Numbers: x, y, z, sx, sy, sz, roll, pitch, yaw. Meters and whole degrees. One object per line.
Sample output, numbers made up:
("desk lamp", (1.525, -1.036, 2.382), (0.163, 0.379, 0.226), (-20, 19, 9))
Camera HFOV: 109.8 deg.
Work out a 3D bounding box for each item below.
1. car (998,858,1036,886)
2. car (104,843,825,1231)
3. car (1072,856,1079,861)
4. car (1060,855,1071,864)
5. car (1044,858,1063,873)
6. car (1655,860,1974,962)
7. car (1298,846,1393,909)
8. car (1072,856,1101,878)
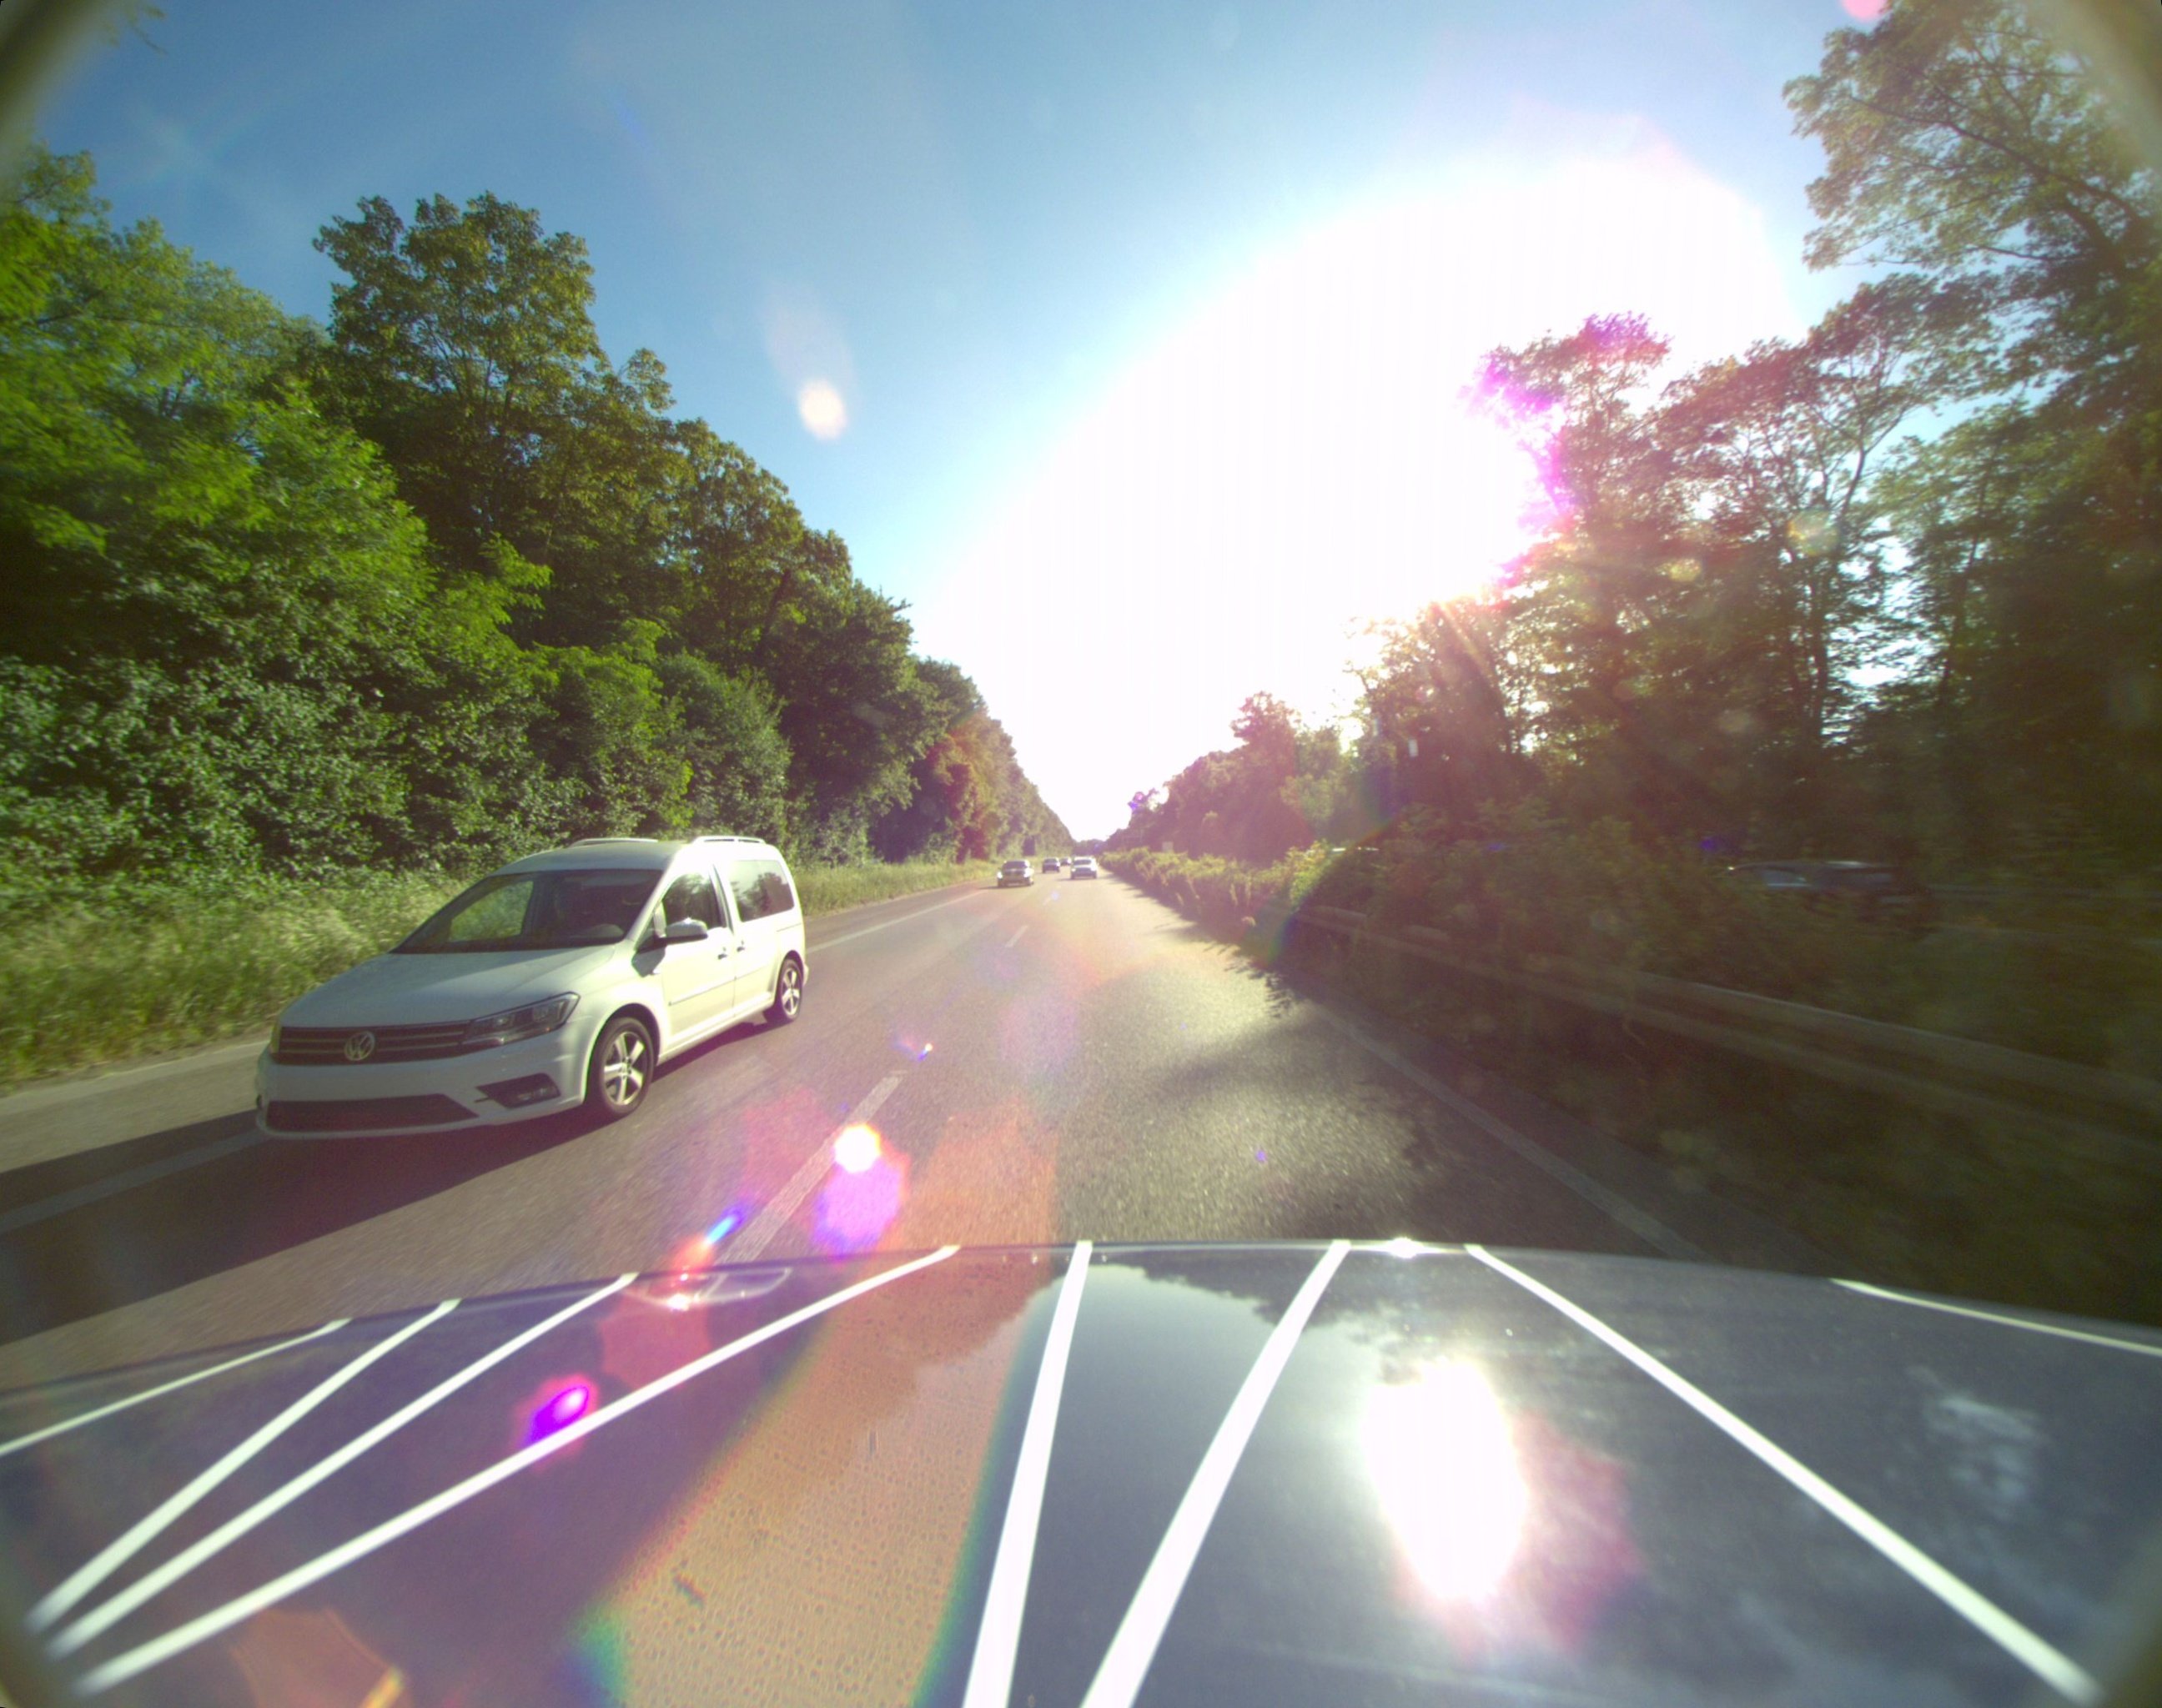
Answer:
("car", (-3.579, 0.982, 42.839), (1.795, 1.440, 3.877), (-2, 0, 0))
("car", (-3.714, 0.861, 5.929), (1.803, 1.802, 4.587), (-2, 1, 0))
("car", (-1.565, 1.307, 210.327), (1.795, 1.440, 3.877), (-2, 0, 0))
("car", (-2.647, 0.937, 133.079), (1.795, 1.440, 3.877), (-2, 0, 0))
("car", (-2.827, 1.143, 78.440), (1.795, 1.440, 3.877), (-2, 0, 0))
("car", (12.949, 0.903, 13.880), (1.783, 1.450, 4.269), (-2, 1, 2))
("car", (8.546, 0.692, 24.923), (1.783, 1.837, 4.000), (-2, 1, 2))
("car", (0.389, 0.897, 53.514), (1.890, 1.440, 3.878), (-2, 0, 1))
